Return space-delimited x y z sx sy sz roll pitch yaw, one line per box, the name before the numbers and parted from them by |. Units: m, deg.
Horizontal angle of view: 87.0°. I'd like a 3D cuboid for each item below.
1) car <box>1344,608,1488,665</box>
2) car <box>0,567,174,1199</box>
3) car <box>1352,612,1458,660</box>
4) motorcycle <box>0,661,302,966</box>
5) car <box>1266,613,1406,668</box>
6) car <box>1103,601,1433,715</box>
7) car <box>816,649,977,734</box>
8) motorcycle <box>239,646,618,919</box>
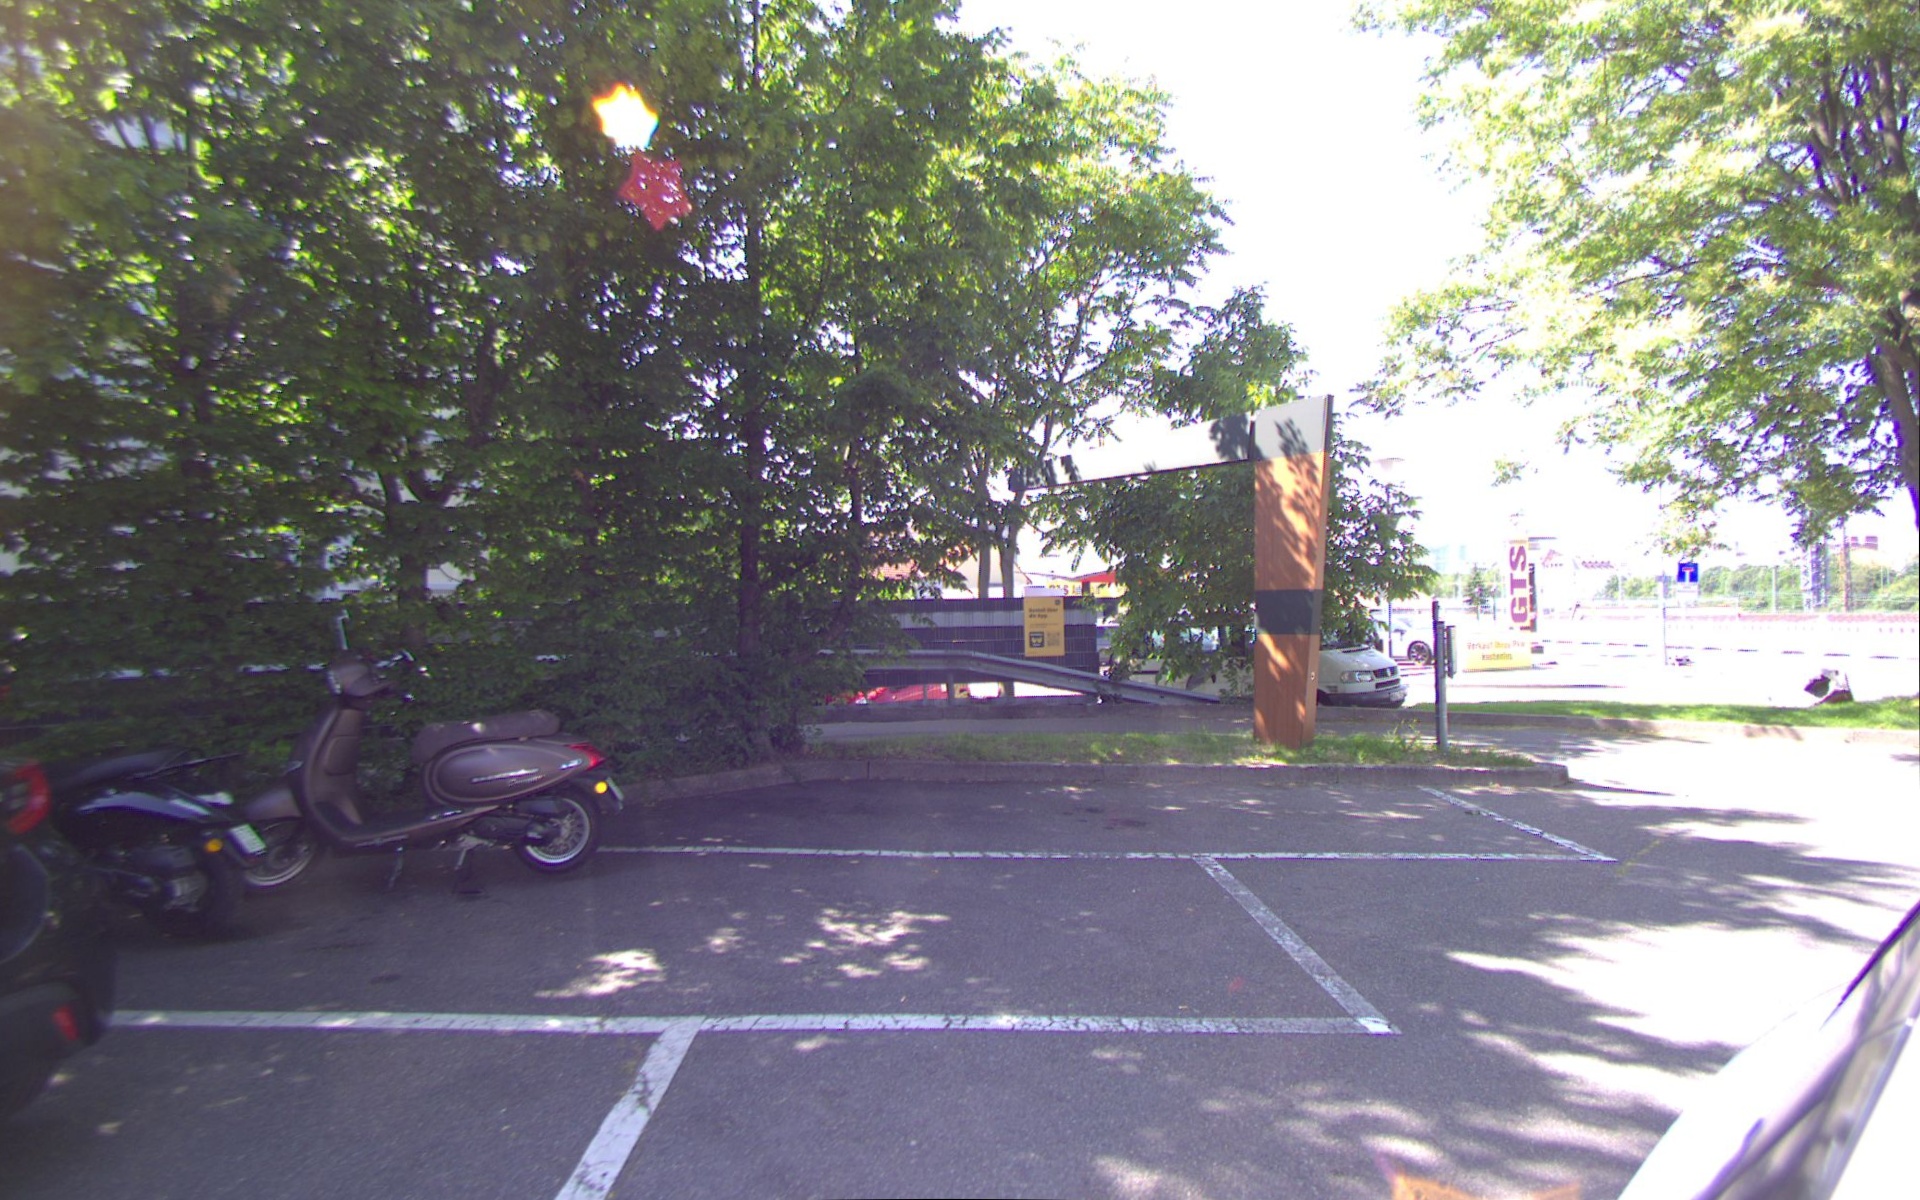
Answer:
car | 14.916 1.190 33.348 1.958 1.748 4.005 1 -2 -25
car | -4.082 0.644 1.985 3.832 1.488 1.660 1 0 2
car | 16.465 1.316 37.692 1.825 1.650 4.003 0 -1 -6
motorcycle | -3.661 0.840 4.166 1.574 1.155 0.475 0 -1 -1
car | 11.854 1.270 32.242 2.010 1.615 4.430 0 -2 -14
car | 4.904 0.867 16.815 1.923 1.603 5.023 2 -2 -40
car | -1.259 1.832 21.085 1.479 1.396 3.366 0 0 40
motorcycle | -2.563 0.847 5.030 1.572 1.184 0.571 -1 -1 -12
